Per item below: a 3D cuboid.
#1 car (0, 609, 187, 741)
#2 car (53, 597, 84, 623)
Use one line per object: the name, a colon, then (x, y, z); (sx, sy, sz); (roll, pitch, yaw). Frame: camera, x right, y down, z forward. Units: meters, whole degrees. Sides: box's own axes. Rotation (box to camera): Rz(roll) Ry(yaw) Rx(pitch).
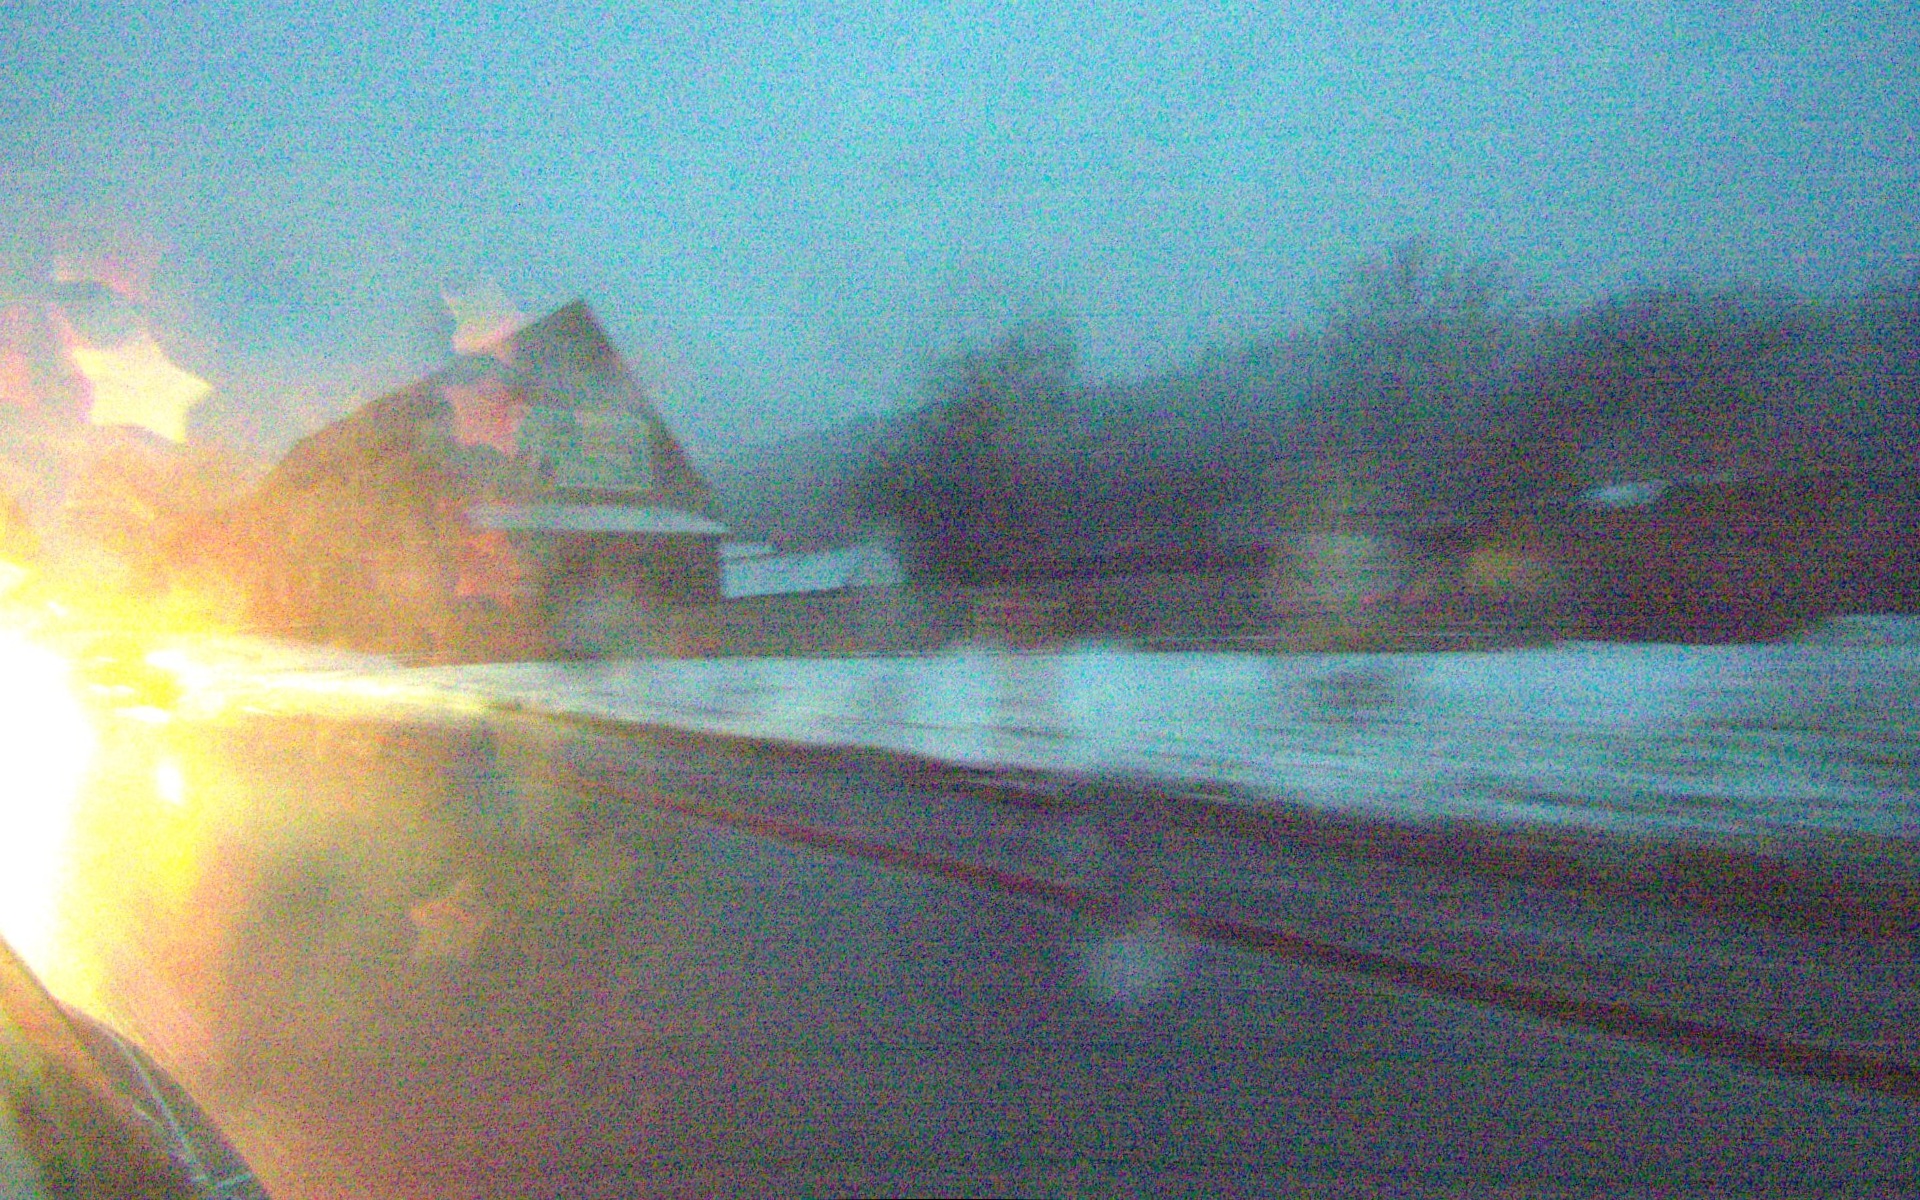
car: (-12.506, 0.938, 14.302); (3.613, 1.520, 1.783); (0, 2, 41)
car: (-77.311, 0.816, 87.782); (1.895, 2.072, 4.895); (-3, 2, -41)
